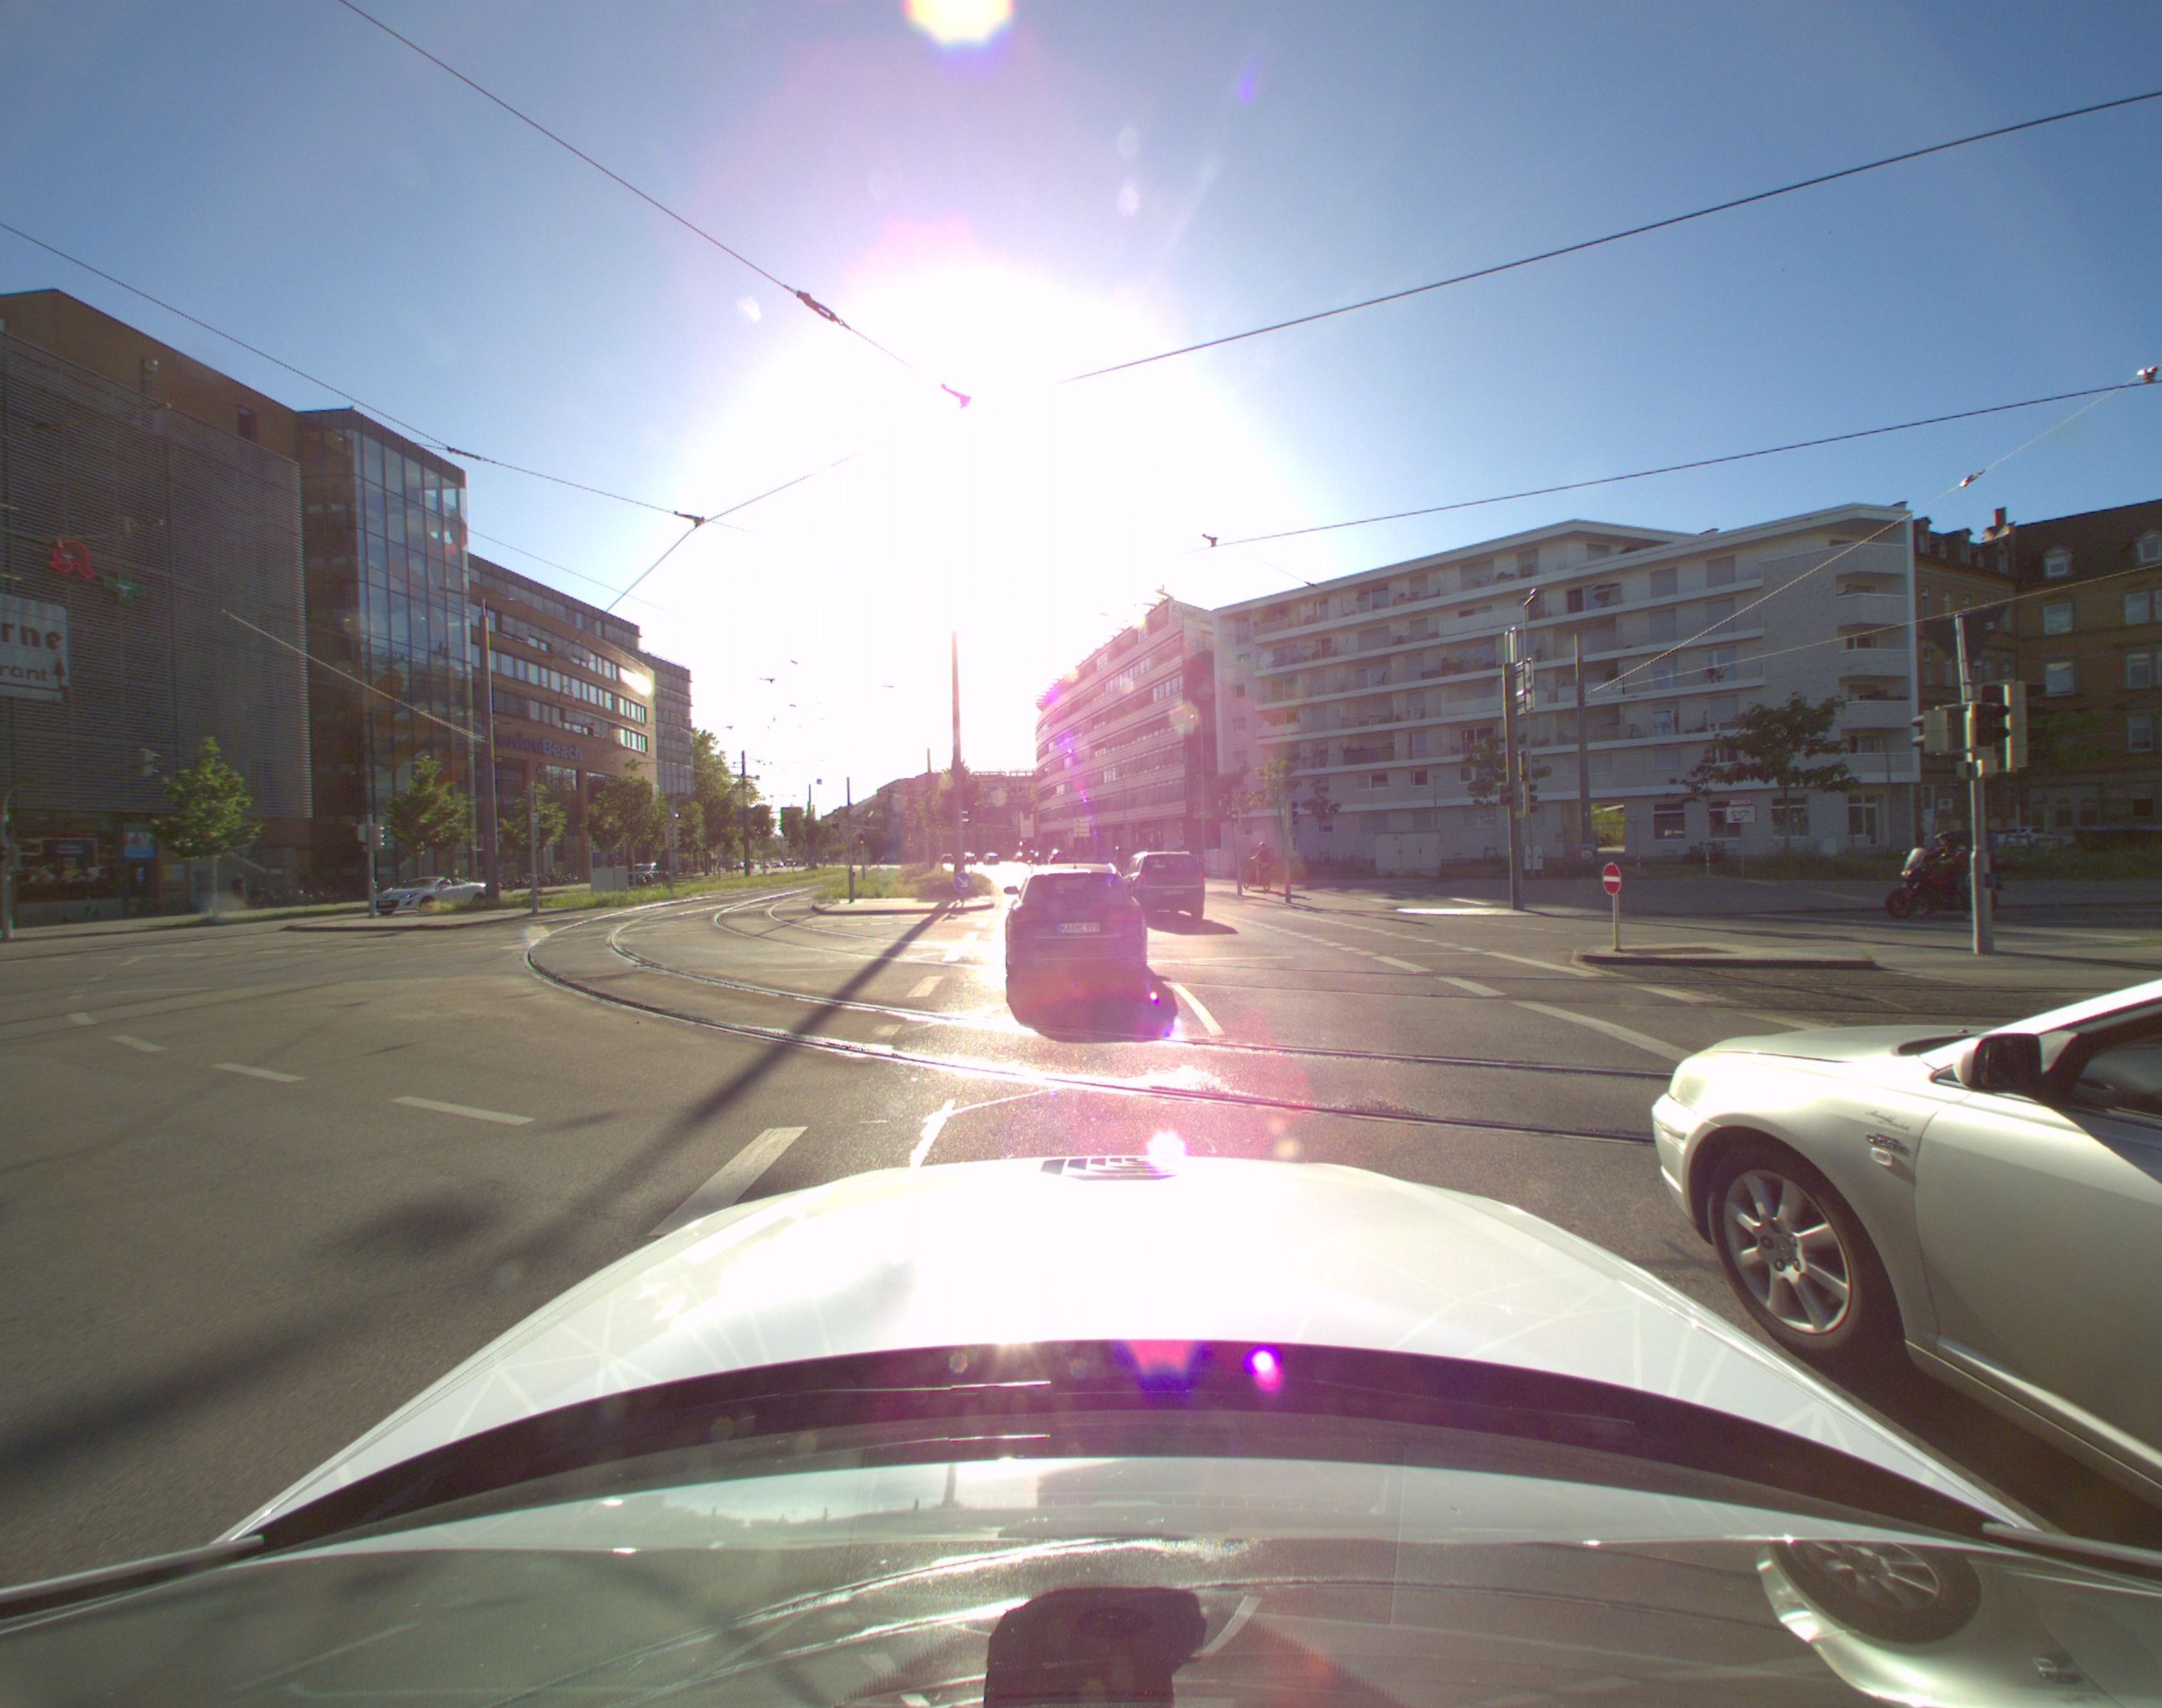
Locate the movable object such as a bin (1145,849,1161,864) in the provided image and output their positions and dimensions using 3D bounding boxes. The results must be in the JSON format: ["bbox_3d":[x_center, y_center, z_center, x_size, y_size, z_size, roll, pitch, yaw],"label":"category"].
[{"bbox_3d":[7.004,0.261,78.972,1.064,1.332,1.116,-2,-1,-23],"label":"movable object such as a bin"}]

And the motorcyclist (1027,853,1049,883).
[{"bbox_3d":[-1.931,0.626,36.400,0.863,1.326,0.679,-1,0,-10],"label":"motorcyclist"}]

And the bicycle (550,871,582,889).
[{"bbox_3d":[-43.935,2.233,69.478,2.403,1.433,0.791,-3,-1,13],"label":"bicycle"}]

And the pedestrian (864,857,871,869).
[{"bbox_3d":[-32.495,1.417,123.959,0.903,1.824,0.826,-2,-1,-12],"label":"pedestrian"}]

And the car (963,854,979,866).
[{"bbox_3d":[-15.070,0.863,111.564,1.994,1.596,3.985,-2,-1,-10],"label":"car"}]

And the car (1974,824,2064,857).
[{"bbox_3d":[48.506,-0.693,42.115,4.006,1.486,1.984,-2,-1,-25],"label":"car"}]

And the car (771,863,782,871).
[{"bbox_3d":[-67.464,2.804,180.350,2.003,1.684,3.968,-2,0,-24],"label":"car"}]

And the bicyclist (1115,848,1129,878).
[{"bbox_3d":[2.284,0.491,45.407,0.650,1.642,0.974,-2,0,8],"label":"bicyclist"}]

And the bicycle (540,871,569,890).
[{"bbox_3d":[-44.164,2.221,68.317,2.123,1.433,0.761,-3,-1,13],"label":"bicycle"}]

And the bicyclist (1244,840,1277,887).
[{"bbox_3d":[6.757,0.348,30.671,0.772,1.706,0.920,-2,-1,-36],"label":"bicyclist"}]

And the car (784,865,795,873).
[{"bbox_3d":[-66.033,3.384,184.690,2.003,1.684,3.968,-2,0,-24],"label":"car"}]

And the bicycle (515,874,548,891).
[{"bbox_3d":[-44.154,2.300,65.414,2.397,1.236,0.747,-3,-1,13],"label":"bicycle"}]

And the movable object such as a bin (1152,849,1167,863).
[{"bbox_3d":[7.499,0.203,77.860,1.064,1.332,1.116,-2,-1,-23],"label":"movable object such as a bin"}]

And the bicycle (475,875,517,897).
[{"bbox_3d":[-41.124,2.233,57.272,2.544,1.433,0.908,-3,-1,13],"label":"bicycle"}]

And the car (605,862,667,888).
[{"bbox_3d":[-30.327,1.404,55.654,1.990,1.640,4.405,-2,0,-5],"label":"car"}]

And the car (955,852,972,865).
[{"bbox_3d":[-16.987,0.666,117.576,1.996,1.706,3.981,-2,-1,-13],"label":"car"}]

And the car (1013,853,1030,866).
[{"bbox_3d":[-8.871,0.832,121.175,1.994,1.838,3.985,-2,-1,-10],"label":"car"}]

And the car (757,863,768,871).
[{"bbox_3d":[-70.223,2.874,179.668,2.003,1.684,3.968,-2,0,-24],"label":"car"}]

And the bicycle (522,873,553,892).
[{"bbox_3d":[-44.225,2.301,66.273,2.230,1.433,0.721,-3,-1,13],"label":"bicycle"}]

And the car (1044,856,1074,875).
[{"bbox_3d":[-2.220,1.075,79.923,2.006,1.715,4.350,0,1,-15],"label":"car"}]

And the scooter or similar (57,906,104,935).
[{"bbox_3d":[-41.541,2.748,33.826,0.419,1.110,1.154,-3,-1,6],"label":"scooter or similar"}]

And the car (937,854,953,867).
[{"bbox_3d":[-19.556,0.906,117.118,1.996,1.706,3.981,-2,-1,-13],"label":"car"}]

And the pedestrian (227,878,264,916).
[{"bbox_3d":[-40.817,2.096,39.811,0.822,1.824,0.906,-3,-1,6],"label":"pedestrian"}]

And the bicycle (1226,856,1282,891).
[{"bbox_3d":[6.558,0.728,30.946,0.772,1.262,2.059,-2,0,-36],"label":"bicycle"}]

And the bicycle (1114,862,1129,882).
[{"bbox_3d":[2.260,1.003,45.413,0.650,1.043,1.934,-2,1,8],"label":"bicycle"}]

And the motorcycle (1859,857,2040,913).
[{"bbox_3d":[17.421,0.601,16.396,2.446,1.000,1.171,-2,0,-2],"label":"motorcycle"}]

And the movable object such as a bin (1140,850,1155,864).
[{"bbox_3d":[6.527,0.270,80.089,1.064,1.332,1.116,-2,-1,-23],"label":"movable object such as a bin"}]

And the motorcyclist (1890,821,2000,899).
[{"bbox_3d":[17.358,0.116,16.398,0.922,1.481,1.171,-2,0,-2],"label":"motorcyclist"}]

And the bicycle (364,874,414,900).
[{"bbox_3d":[-41.668,2.006,49.064,2.353,1.433,1.080,-3,-1,13],"label":"bicycle"}]

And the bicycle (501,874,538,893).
[{"bbox_3d":[-44.114,2.311,63.975,2.589,1.433,0.774,-3,-1,13],"label":"bicycle"}]

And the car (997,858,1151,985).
[{"bbox_3d":[0.036,0.812,11.710,1.834,1.454,4.004,0,1,3],"label":"car"}]

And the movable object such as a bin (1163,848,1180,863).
[{"bbox_3d":[8.416,0.116,75.644,1.064,1.332,1.116,-2,-1,-23],"label":"movable object such as a bin"}]

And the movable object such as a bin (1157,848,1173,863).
[{"bbox_3d":[7.946,0.174,76.783,1.064,1.332,1.116,-2,-1,-23],"label":"movable object such as a bin"}]

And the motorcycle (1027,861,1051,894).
[{"bbox_3d":[-1.897,1.043,36.419,0.862,1.393,1.887,-1,0,-10],"label":"motorcycle"}]

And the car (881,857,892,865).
[{"bbox_3d":[-44.786,1.570,187.485,2.001,1.706,3.971,-2,-1,-21],"label":"car"}]

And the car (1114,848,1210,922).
[{"bbox_3d":[1.953,0.720,20.836,1.743,1.696,4.254,0,0,-5],"label":"car"}]

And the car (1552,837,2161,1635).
[{"bbox_3d":[2.879,0.705,1.180,1.740,1.481,4.628,-2,0,1],"label":"car"}]

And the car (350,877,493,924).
[{"bbox_3d":[-26.510,1.826,32.978,1.986,1.545,4.532,-2,0,2],"label":"car"}]

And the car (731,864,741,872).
[{"bbox_3d":[-74.446,3.077,175.662,2.003,1.684,3.968,-2,0,-24],"label":"car"}]

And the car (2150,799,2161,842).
[{"bbox_3d":[60.412,-1.879,42.943,4.544,2.310,2.012,-2,0,43],"label":"car"}]

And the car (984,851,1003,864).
[{"bbox_3d":[-11.787,0.501,108.976,1.996,1.596,3.981,-2,-1,-14],"label":"car"}]

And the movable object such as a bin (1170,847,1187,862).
[{"bbox_3d":[8.894,0.048,74.527,1.064,1.332,1.116,-2,-1,-23],"label":"movable object such as a bin"}]
